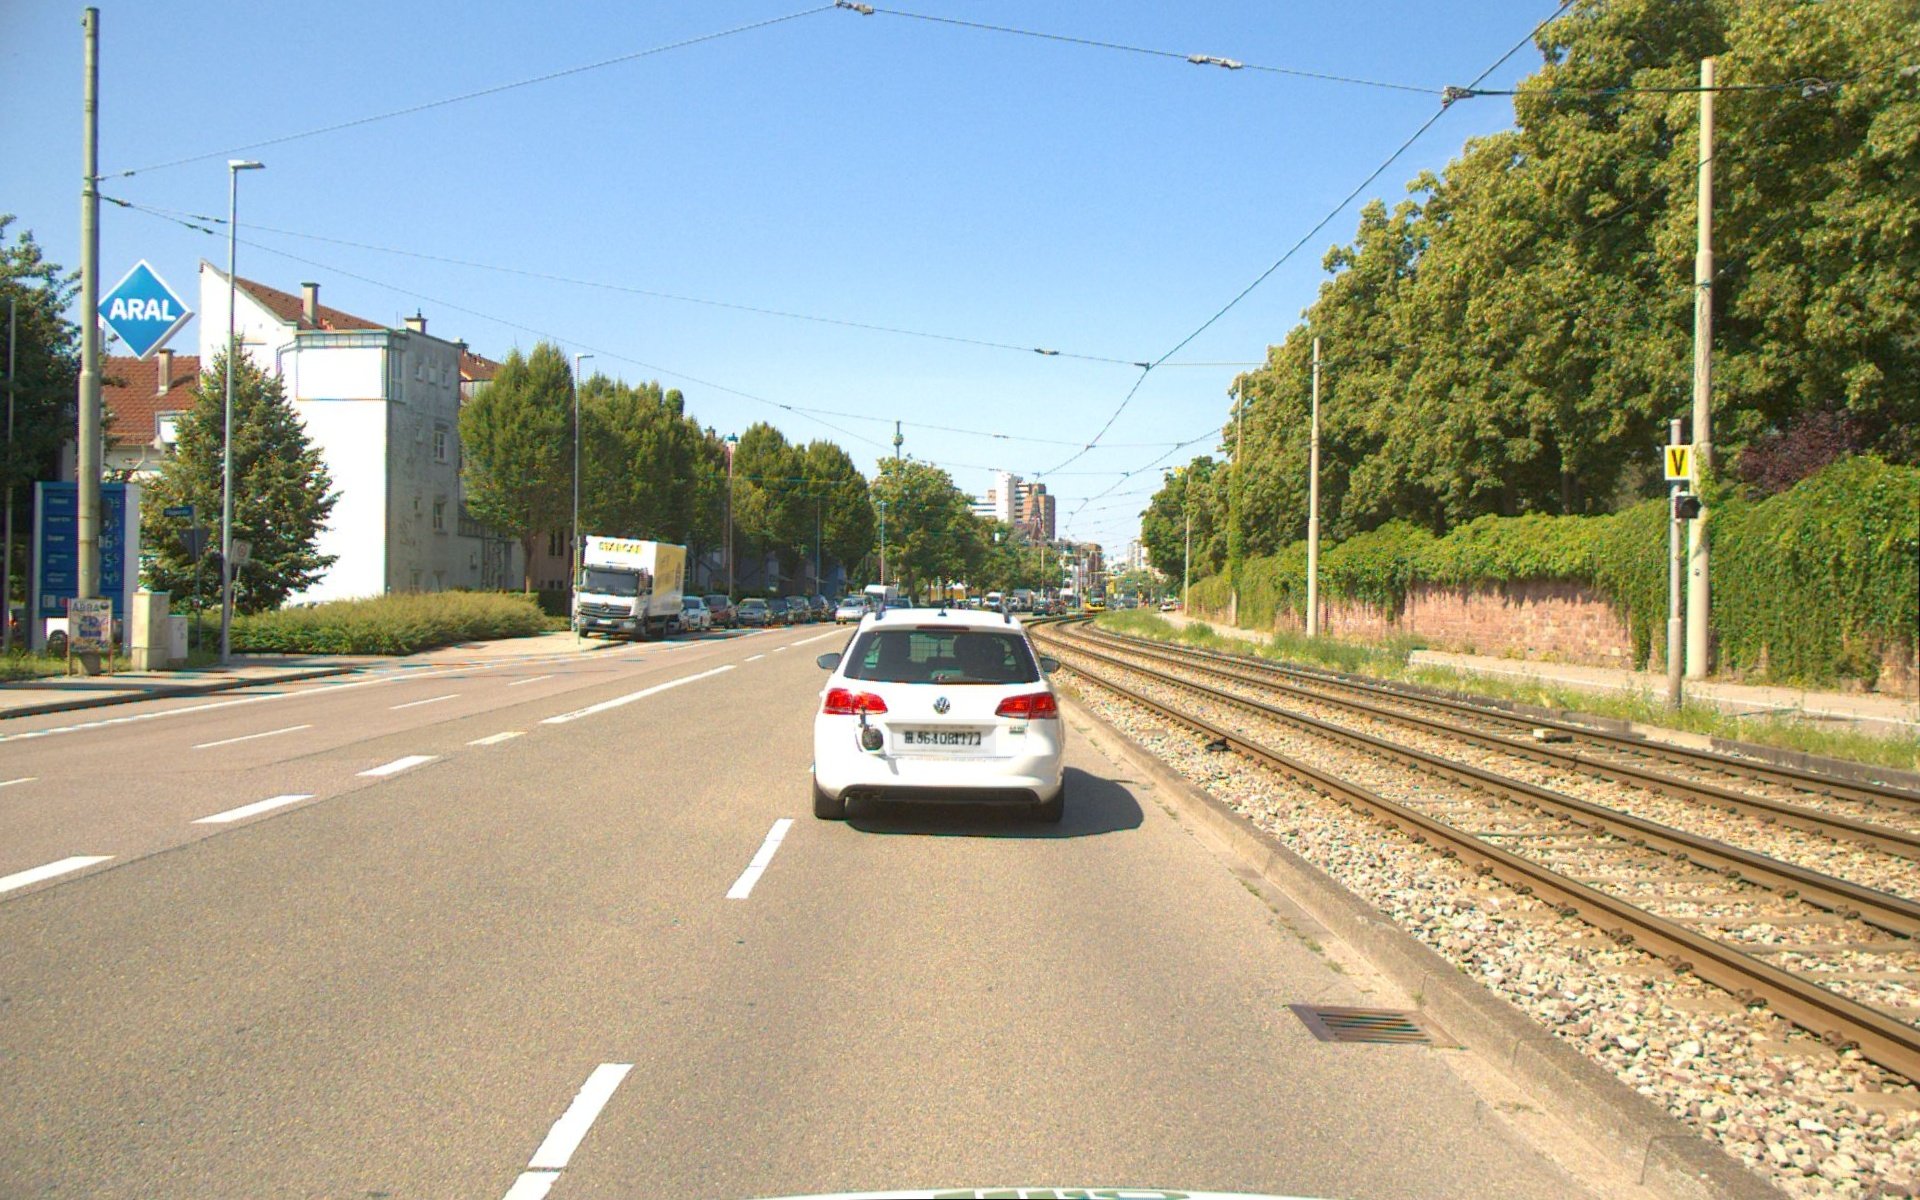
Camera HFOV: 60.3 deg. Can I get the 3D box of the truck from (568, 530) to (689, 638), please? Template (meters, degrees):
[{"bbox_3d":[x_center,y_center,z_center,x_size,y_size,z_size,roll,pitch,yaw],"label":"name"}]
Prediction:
[{"bbox_3d":[-11.971,-0.545,60.517,2.612,3.592,8.590,2,0,0],"label":"truck"}]

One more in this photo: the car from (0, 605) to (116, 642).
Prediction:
[{"bbox_3d":[-31.112,0.800,56.750,3.572,1.226,1.576,0,0,10],"label":"car"}]

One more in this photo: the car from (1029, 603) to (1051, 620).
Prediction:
[{"bbox_3d":[7.781,1.100,160.884,1.762,1.534,4.003,2,0,7],"label":"car"}]

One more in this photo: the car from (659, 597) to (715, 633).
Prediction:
[{"bbox_3d":[-11.962,0.645,72.627,1.721,1.454,4.281,2,0,0],"label":"car"}]

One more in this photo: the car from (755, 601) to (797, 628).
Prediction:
[{"bbox_3d":[-10.879,0.831,98.106,1.687,1.500,4.716,2,0,2],"label":"car"}]

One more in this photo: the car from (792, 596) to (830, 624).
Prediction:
[{"bbox_3d":[-9.844,0.653,109.595,1.732,1.753,4.872,2,0,3],"label":"car"}]

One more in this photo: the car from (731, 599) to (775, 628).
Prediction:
[{"bbox_3d":[-11.440,0.773,91.652,1.744,1.509,4.857,2,-1,1],"label":"car"}]

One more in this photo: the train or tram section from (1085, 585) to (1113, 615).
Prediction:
[{"bbox_3d":[18.162,-0.012,215.168,2.457,3.813,13.321,0,0,10],"label":"train or tram section"}]

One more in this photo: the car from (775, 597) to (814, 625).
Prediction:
[{"bbox_3d":[-10.403,0.681,104.075,1.681,1.653,4.314,2,0,4],"label":"car"}]

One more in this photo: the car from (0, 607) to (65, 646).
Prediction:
[{"bbox_3d":[-31.634,0.860,54.494,3.572,1.226,1.576,0,0,10],"label":"car"}]

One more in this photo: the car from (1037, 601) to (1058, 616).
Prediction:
[{"bbox_3d":[8.847,0.852,167.336,1.762,1.485,4.003,2,0,7],"label":"car"}]

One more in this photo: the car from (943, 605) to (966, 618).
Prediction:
[{"bbox_3d":[-0.544,1.186,176.912,1.663,1.376,4.003,0,0,11],"label":"car"}]

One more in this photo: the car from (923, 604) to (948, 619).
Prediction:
[{"bbox_3d":[-2.442,1.148,164.149,1.663,1.442,4.003,0,0,11],"label":"car"}]

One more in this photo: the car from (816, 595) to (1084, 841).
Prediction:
[{"bbox_3d":[-0.145,0.742,12.682,1.657,1.476,4.457,2,1,-2],"label":"car"}]

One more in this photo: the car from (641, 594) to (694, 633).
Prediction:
[{"bbox_3d":[-11.985,0.546,67.895,1.577,1.509,3.634,2,0,-2],"label":"car"}]

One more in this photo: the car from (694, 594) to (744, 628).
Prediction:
[{"bbox_3d":[-11.742,0.531,80.721,1.695,1.579,4.318,2,0,1],"label":"car"}]

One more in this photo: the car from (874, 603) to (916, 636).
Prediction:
[{"bbox_3d":[-3.345,0.988,86.072,1.763,1.533,4.002,1,1,3],"label":"car"}]

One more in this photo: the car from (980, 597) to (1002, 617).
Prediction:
[{"bbox_3d":[3.976,0.892,210.901,1.840,2.458,5.120,0,0,11],"label":"car"}]

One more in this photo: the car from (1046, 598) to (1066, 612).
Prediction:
[{"bbox_3d":[10.117,0.541,174.379,1.762,1.486,4.003,0,0,7],"label":"car"}]

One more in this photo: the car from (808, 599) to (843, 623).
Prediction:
[{"bbox_3d":[-9.325,0.758,115.057,1.655,1.500,4.051,3,0,5],"label":"car"}]

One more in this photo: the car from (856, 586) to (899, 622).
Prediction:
[{"bbox_3d":[-6.628,0.337,134.104,1.952,2.761,7.162,3,0,9],"label":"car"}]
